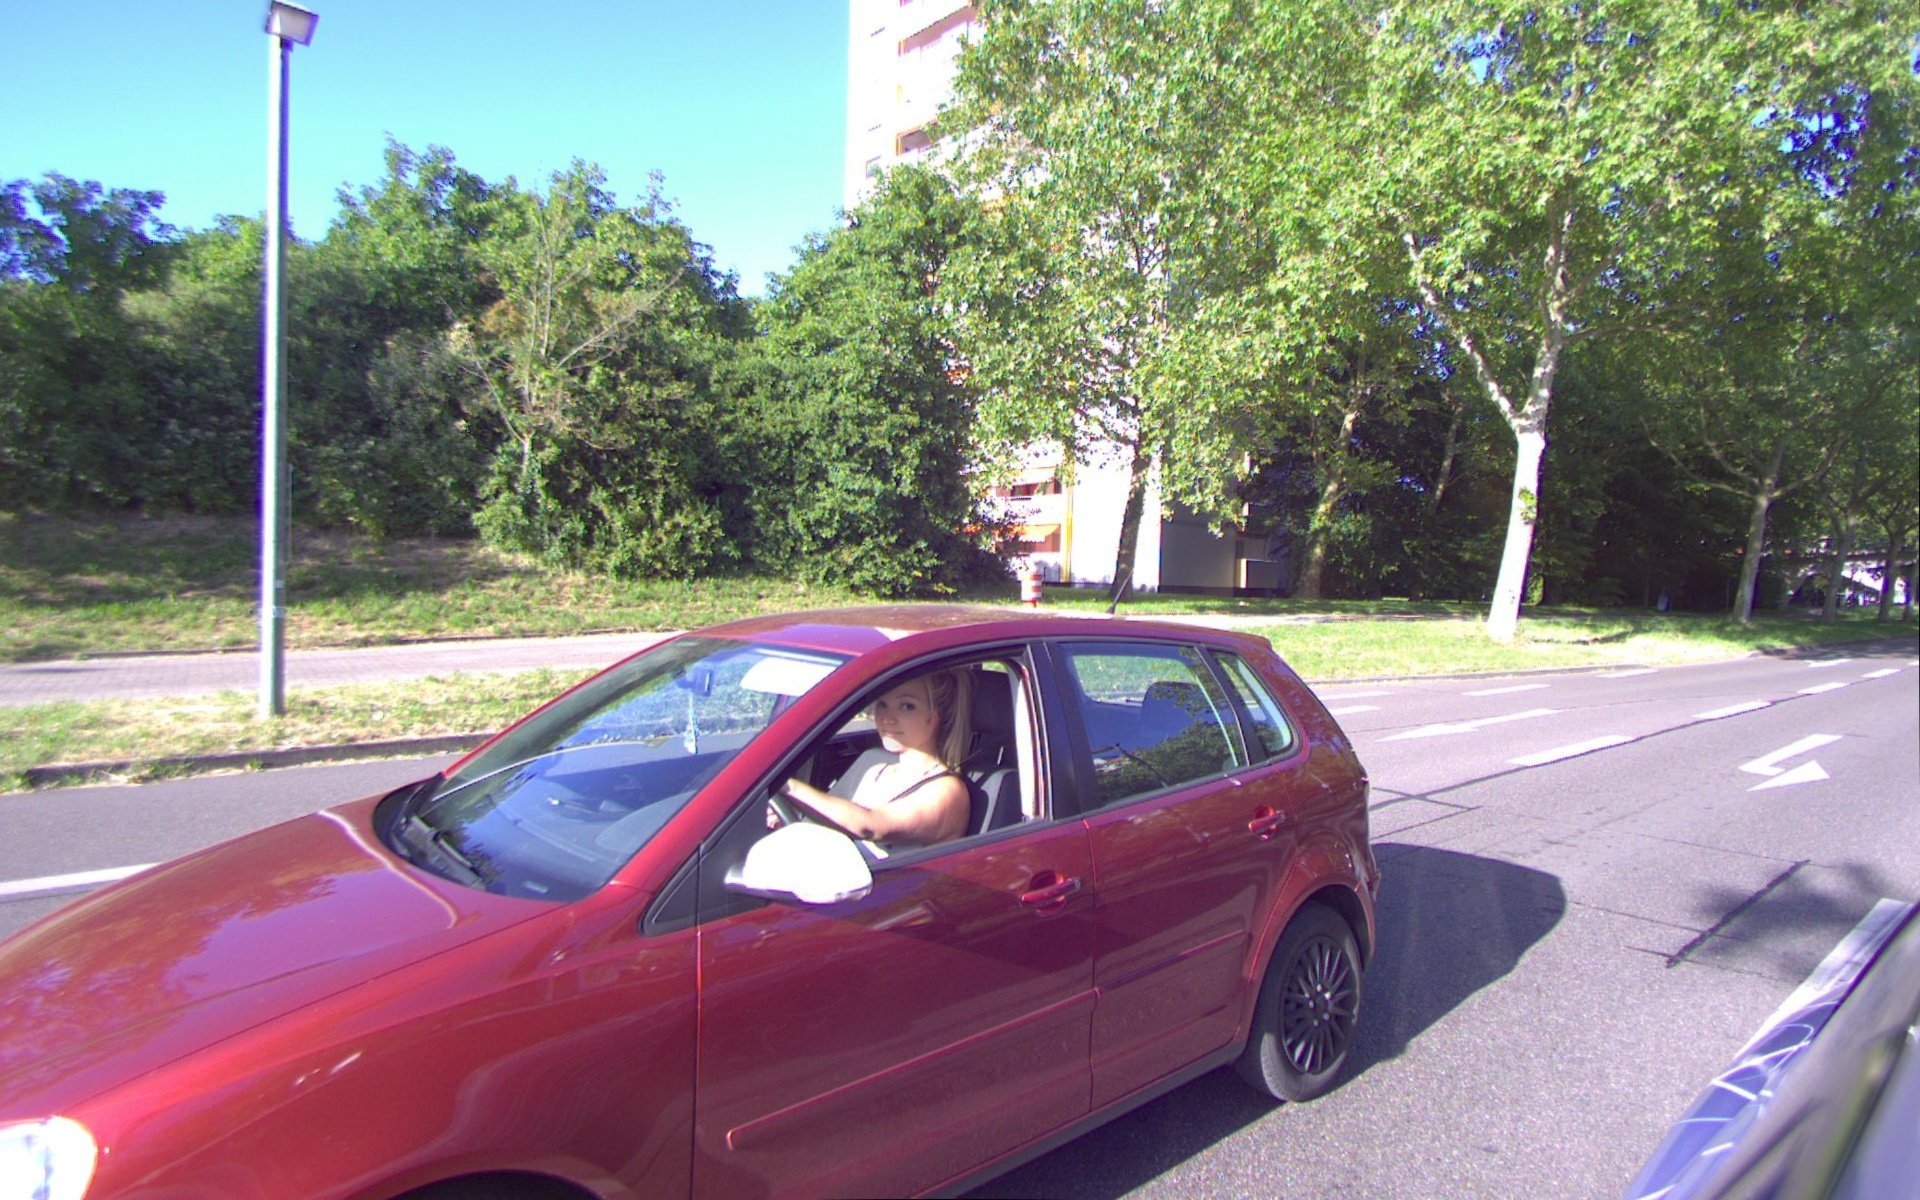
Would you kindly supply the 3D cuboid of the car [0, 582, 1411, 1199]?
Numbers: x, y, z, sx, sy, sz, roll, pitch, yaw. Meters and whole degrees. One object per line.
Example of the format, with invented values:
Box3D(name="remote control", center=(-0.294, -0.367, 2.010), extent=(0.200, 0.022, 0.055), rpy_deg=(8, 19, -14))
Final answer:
Box3D(name="car", center=(-0.472, 0.692, 2.759), extent=(3.627, 1.434, 1.626), rpy_deg=(0, 1, -39))
